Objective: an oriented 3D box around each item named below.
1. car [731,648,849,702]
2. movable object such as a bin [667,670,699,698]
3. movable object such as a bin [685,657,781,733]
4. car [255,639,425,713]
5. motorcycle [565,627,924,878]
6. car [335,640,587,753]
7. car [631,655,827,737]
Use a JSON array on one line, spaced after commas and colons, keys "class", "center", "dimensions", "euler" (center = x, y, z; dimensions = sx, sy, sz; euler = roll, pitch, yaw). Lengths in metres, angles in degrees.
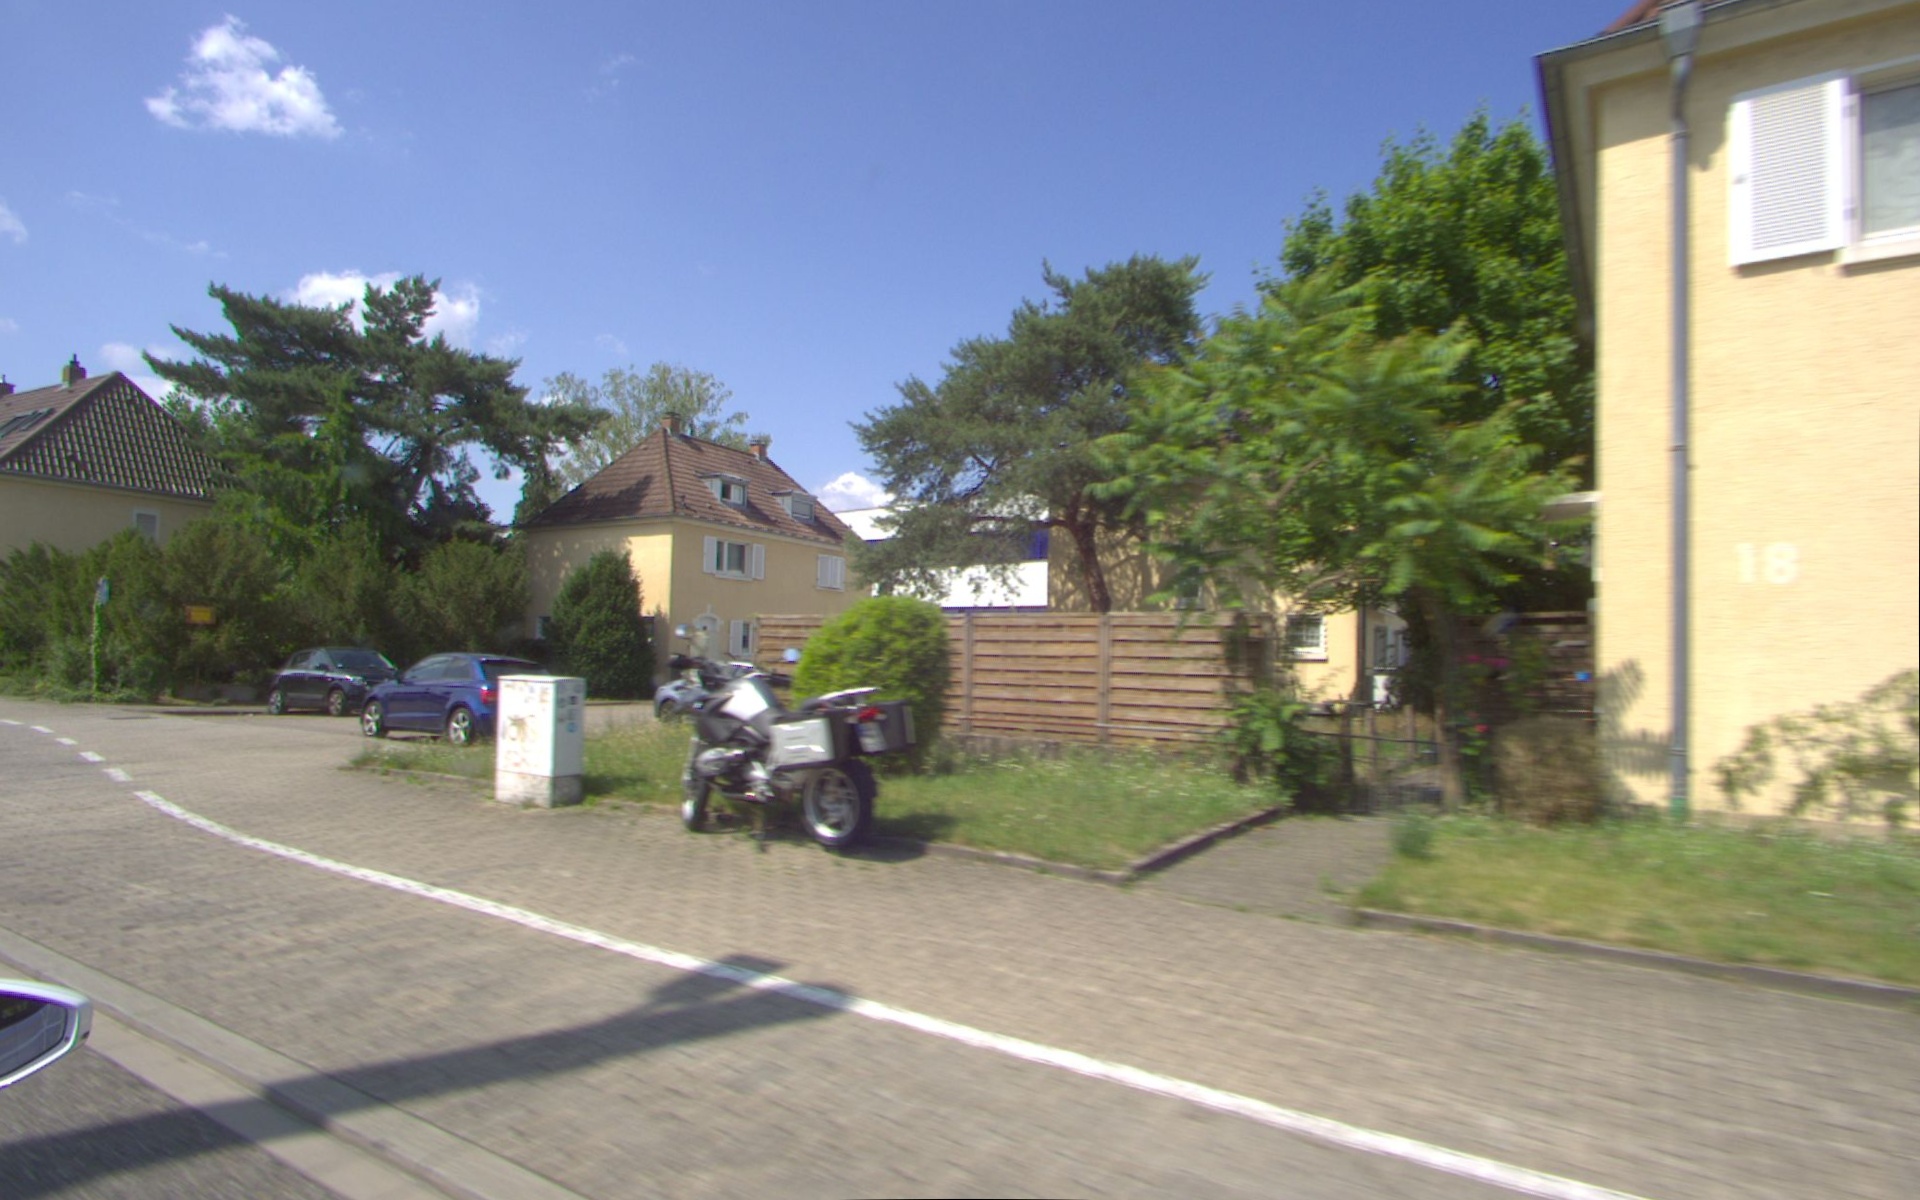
[{"class": "car", "center": [-5.709, 2.565, 34.043], "dimensions": [1.710, 1.708, 4.108], "euler": [-4, -6, 31]}, {"class": "movable object such as a bin", "center": [-9.486, 2.855, 34.302], "dimensions": [0.730, 0.925, 0.699], "euler": [0, -3, 33]}, {"class": "movable object such as a bin", "center": [-3.078, 1.268, 13.556], "dimensions": [1.271, 0.947, 0.568], "euler": [-1, -3, 37]}, {"class": "car", "center": [-14.266, 1.716, 23.019], "dimensions": [3.750, 1.566, 1.628], "euler": [-1, -4, 28]}, {"class": "motorcycle", "center": [-1.595, 0.952, 7.185], "dimensions": [2.548, 1.489, 1.045], "euler": [-1, -1, 33]}, {"class": "car", "center": [-7.923, 1.448, 15.777], "dimensions": [4.228, 1.397, 1.637], "euler": [1, -3, 34]}, {"class": "car", "center": [-4.854, 1.945, 20.935], "dimensions": [3.872, 1.415, 1.560], "euler": [1, -3, 28]}]
